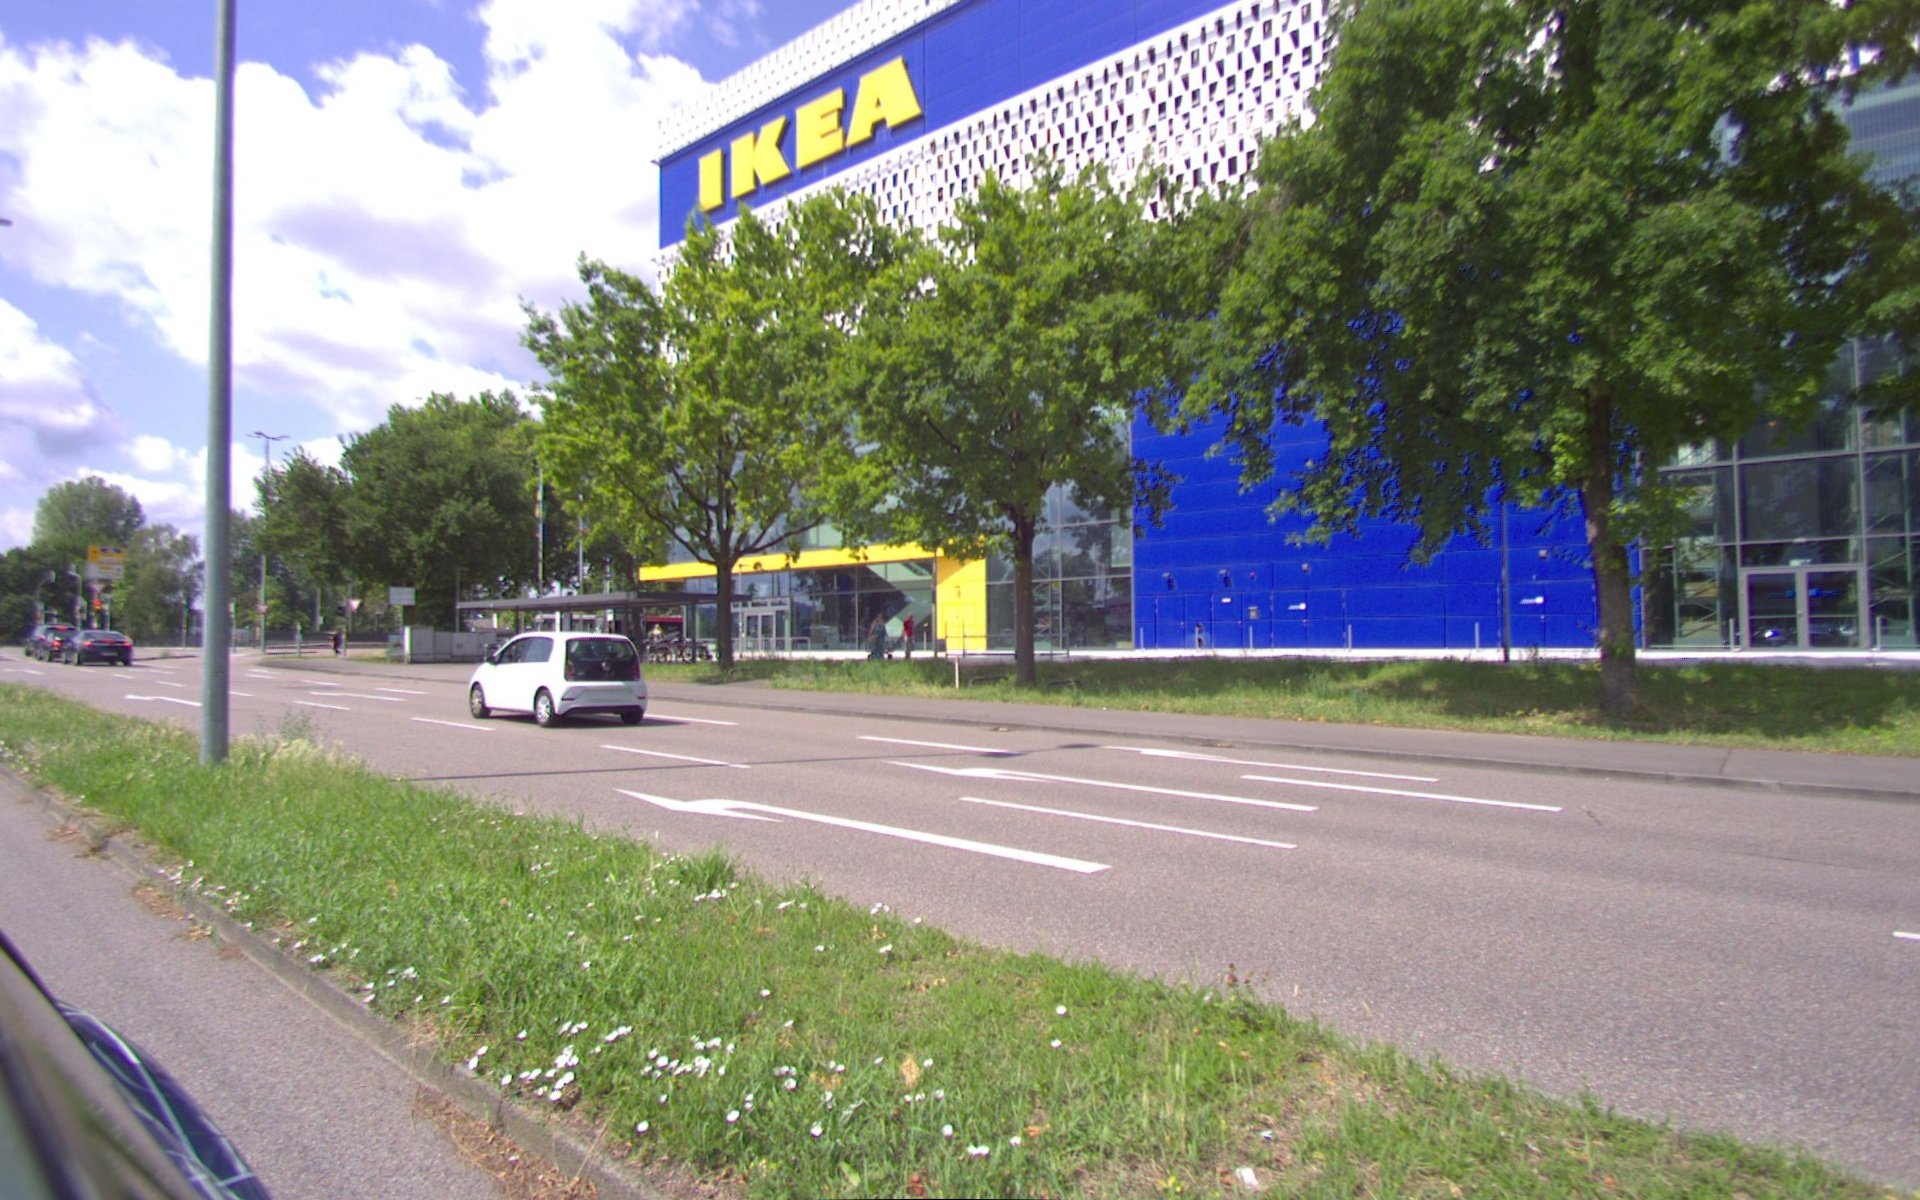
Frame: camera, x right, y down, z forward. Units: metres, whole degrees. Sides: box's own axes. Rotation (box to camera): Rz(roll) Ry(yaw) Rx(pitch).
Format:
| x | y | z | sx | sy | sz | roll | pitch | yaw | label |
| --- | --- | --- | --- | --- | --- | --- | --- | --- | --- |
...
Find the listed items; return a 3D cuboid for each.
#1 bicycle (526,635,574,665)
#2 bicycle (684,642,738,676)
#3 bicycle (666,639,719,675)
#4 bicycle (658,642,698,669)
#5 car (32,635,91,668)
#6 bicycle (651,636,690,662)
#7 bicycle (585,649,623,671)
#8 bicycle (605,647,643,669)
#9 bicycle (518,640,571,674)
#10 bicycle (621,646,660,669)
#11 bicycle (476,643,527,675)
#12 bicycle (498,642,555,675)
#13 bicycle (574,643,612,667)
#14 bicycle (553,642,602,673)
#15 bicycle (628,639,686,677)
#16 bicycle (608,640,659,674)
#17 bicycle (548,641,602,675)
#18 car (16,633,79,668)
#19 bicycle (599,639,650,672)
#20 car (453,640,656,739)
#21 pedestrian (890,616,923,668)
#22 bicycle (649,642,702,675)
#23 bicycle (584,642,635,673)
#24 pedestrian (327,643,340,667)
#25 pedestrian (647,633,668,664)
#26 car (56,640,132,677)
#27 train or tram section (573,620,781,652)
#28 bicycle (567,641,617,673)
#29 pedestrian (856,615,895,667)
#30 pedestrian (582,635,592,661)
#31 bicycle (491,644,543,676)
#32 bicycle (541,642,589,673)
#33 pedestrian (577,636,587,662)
| x | y | z | sx | sy | sz | roll | pitch | yaw | label |
| --- | --- | --- | --- | --- | --- | --- | --- | --- | --- |
| -18.212 | 2.197 | 44.988 | 0.629 | 1.282 | 1.905 | -3 | -3 | 40 | bicycle |
| -9.145 | 2.146 | 37.233 | 0.629 | 1.193 | 1.905 | -3 | -3 | 40 | bicycle |
| -9.984 | 2.125 | 37.855 | 0.629 | 1.282 | 1.905 | -3 | -3 | 40 | bicycle |
| -13.548 | 2.660 | 48.701 | 0.596 | 1.253 | 1.927 | -2 | -2 | 36 | bicycle |
| -40.500 | 2.290 | 45.593 | 4.094 | 1.402 | 1.397 | -2 | -5 | 41 | car |
| -14.063 | 2.386 | 49.152 | 0.528 | 1.219 | 1.916 | -2 | -2 | 36 | bicycle |
| -18.435 | 3.078 | 52.400 | 0.528 | 1.078 | 1.916 | -2 | -2 | 36 | bicycle |
| -17.116 | 2.942 | 51.580 | 0.528 | 1.078 | 1.916 | -2 | -2 | 36 | bicycle |
| -16.816 | 2.298 | 40.986 | 0.629 | 1.282 | 1.905 | -3 | -3 | 40 | bicycle |
| -15.991 | 2.865 | 50.727 | 0.519 | 1.098 | 1.912 | -3 | -3 | 36 | bicycle |
| -19.617 | 2.505 | 43.303 | 0.629 | 1.282 | 1.905 | -3 | -3 | 40 | bicycle |
| -17.850 | 2.415 | 41.707 | 0.629 | 1.282 | 2.068 | -3 | -3 | 40 | bicycle |
| -19.116 | 2.877 | 52.780 | 0.467 | 1.181 | 1.938 | -3 | -3 | 36 | bicycle |
| -16.445 | 2.474 | 43.492 | 0.629 | 1.282 | 1.905 | -3 | -3 | 40 | bicycle |
| -10.598 | 2.010 | 35.430 | 0.629 | 1.282 | 1.905 | -3 | -3 | 40 | bicycle |
| -13.029 | 2.266 | 40.409 | 0.629 | 1.282 | 1.905 | -3 | -3 | 40 | bicycle |
| -15.000 | 2.248 | 39.471 | 0.629 | 1.282 | 1.905 | -3 | -3 | 40 | bicycle |
| -46.061 | 2.541 | 51.070 | 3.997 | 1.628 | 1.752 | 0 | -4 | 41 | car |
| -13.626 | 2.254 | 41.111 | 0.629 | 1.282 | 1.905 | -3 | -3 | 40 | bicycle |
| -6.710 | 1.395 | 16.606 | 3.669 | 1.440 | 1.625 | -2 | -4 | 42 | car |
| -1.917 | 1.492 | 36.114 | 0.886 | 1.836 | 0.746 | -2 | -2 | 41 | pedestrian |
| -10.831 | 2.216 | 38.547 | 0.629 | 1.188 | 1.905 | -3 | -3 | 40 | bicycle |
| -14.434 | 2.366 | 41.700 | 0.629 | 1.192 | 1.905 | -3 | -3 | 40 | bicycle |
| -39.042 | 3.434 | 63.060 | 0.616 | 1.502 | 0.435 | -1 | -2 | 24 | pedestrian |
| -17.259 | 2.763 | 57.678 | 0.710 | 1.719 | 0.886 | -2 | -3 | 40 | pedestrian |
| -35.822 | 2.392 | 41.821 | 4.516 | 1.432 | 1.646 | -2 | -4 | 41 | car |
| -31.473 | 4.241 | 115.485 | 4.525 | 3.055 | 24.797 | -3 | -4 | 39 | train or tram section |
| -15.486 | 2.404 | 42.582 | 0.629 | 1.282 | 1.905 | -3 | -3 | 40 | bicycle |
| -2.889 | 1.394 | 34.626 | 0.886 | 1.715 | 0.940 | -2 | -2 | 41 | pedestrian |
| -24.876 | 3.226 | 67.505 | 0.515 | 1.716 | 0.405 | -3 | -3 | 35 | pedestrian |
| -18.575 | 2.519 | 42.448 | 0.629 | 1.282 | 1.905 | -3 | -3 | 40 | bicycle |
| -17.192 | 2.483 | 44.087 | 0.629 | 1.282 | 1.905 | -3 | -3 | 40 | bicycle |
| -25.330 | 3.263 | 67.809 | 0.449 | 1.716 | 0.399 | -3 | -3 | 35 | pedestrian |
